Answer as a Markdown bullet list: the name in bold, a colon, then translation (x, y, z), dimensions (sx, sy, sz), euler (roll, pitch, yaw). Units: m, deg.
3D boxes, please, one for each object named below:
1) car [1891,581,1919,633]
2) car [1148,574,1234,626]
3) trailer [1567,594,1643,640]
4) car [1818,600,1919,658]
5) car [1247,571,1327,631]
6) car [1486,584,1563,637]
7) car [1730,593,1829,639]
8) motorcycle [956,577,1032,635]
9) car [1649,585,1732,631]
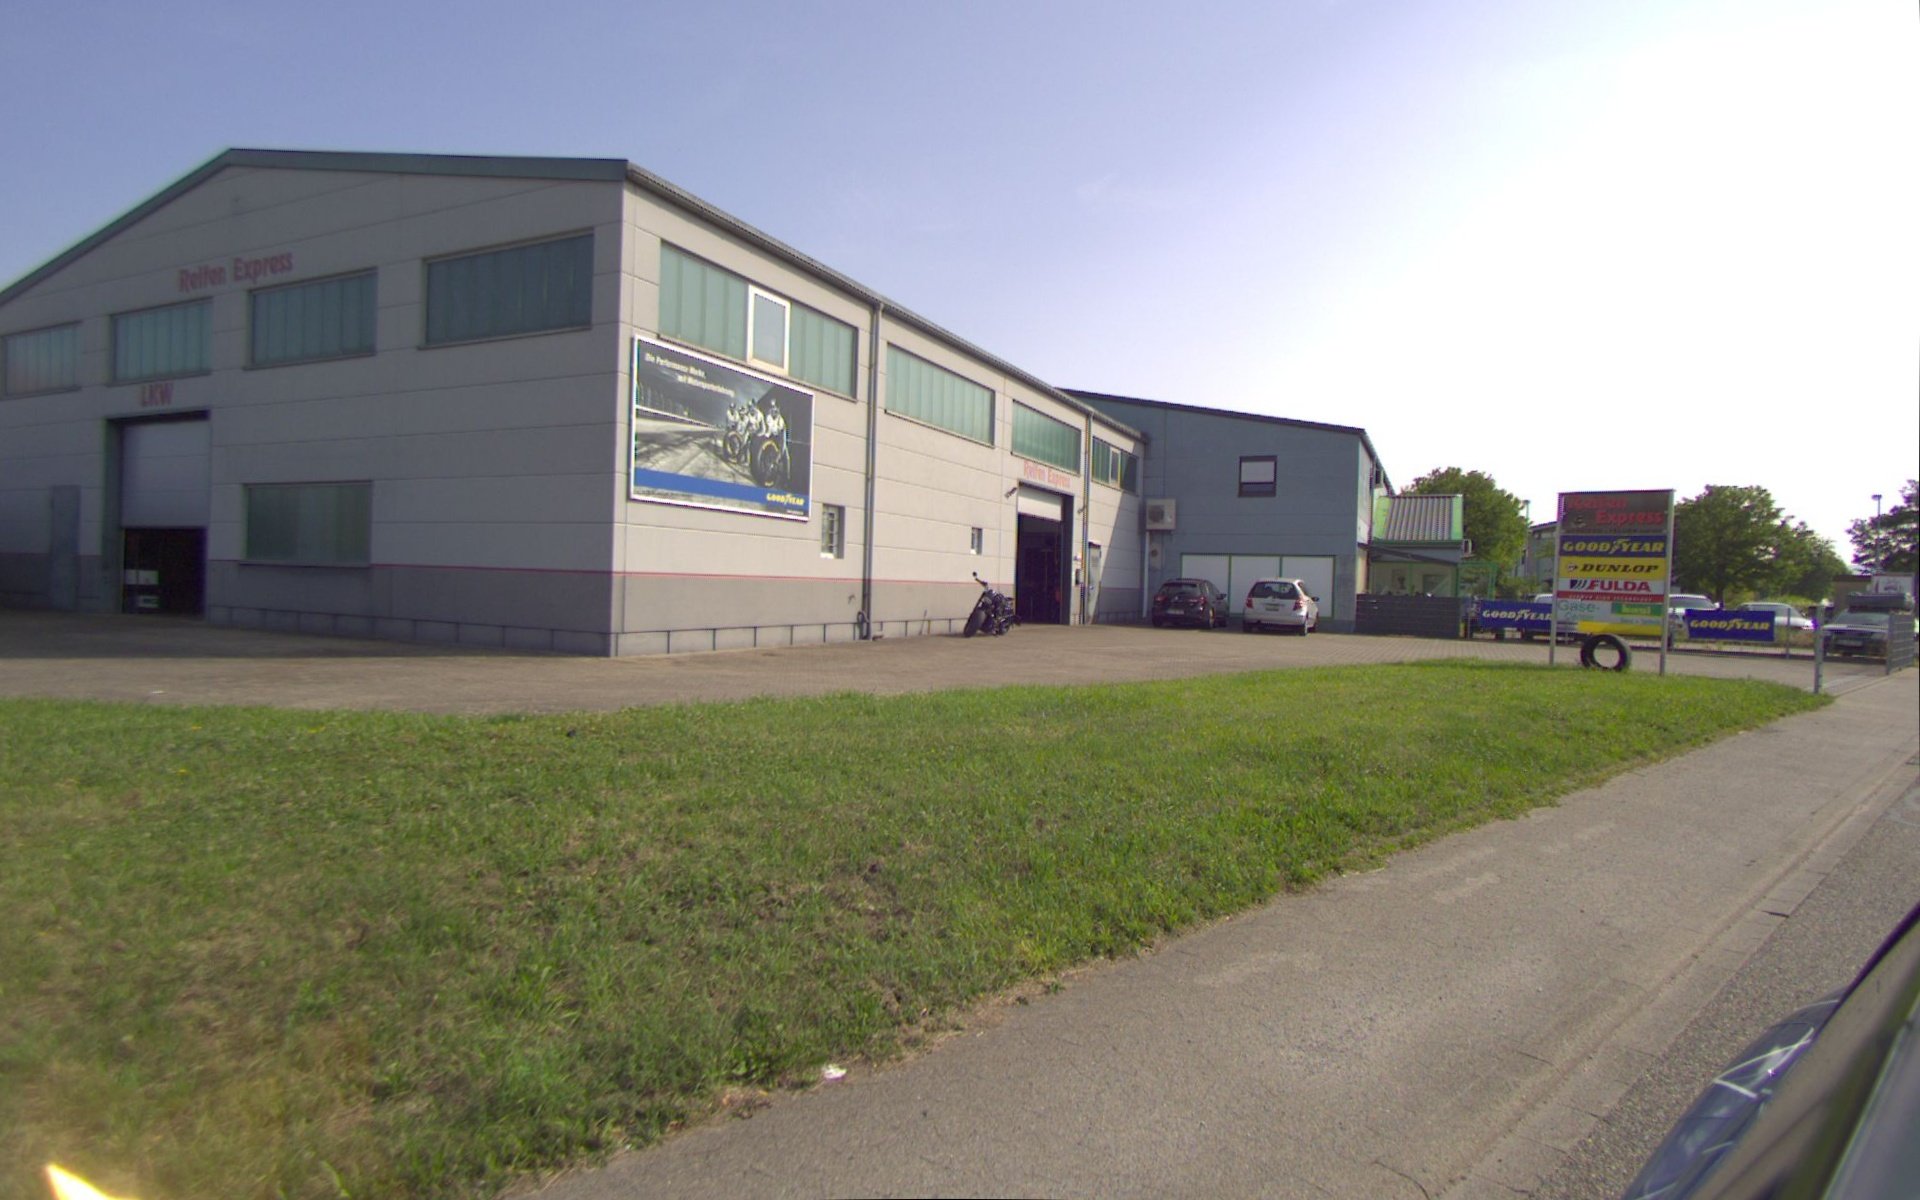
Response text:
- **car**: translation (50.327, 0.382, 49.442), dimensions (6.679, 2.571, 2.260), euler (0, 0, 27)
- **car**: translation (7.014, -0.030, 30.461), dimensions (1.666, 1.420, 3.677), euler (2, 1, 27)
- **trailer**: translation (18.854, 0.458, 29.674), dimensions (1.479, 1.264, 2.951), euler (0, 0, 25)
- **car**: translation (24.805, 0.731, 27.227), dimensions (4.311, 1.386, 1.679), euler (1, 1, -37)
- **car**: translation (9.606, 0.005, 29.549), dimensions (1.623, 1.587, 3.770), euler (2, 1, 27)
- **car**: translation (17.217, 0.267, 31.021), dimensions (1.627, 1.484, 4.424), euler (2, 1, 24)
- **car**: translation (29.319, 0.521, 36.344), dimensions (1.675, 1.484, 4.227), euler (2, 1, 24)
- **motorcycle**: translation (0.735, 0.104, 20.865), dimensions (0.795, 1.108, 2.184), euler (2, 1, 24)
- **car**: translation (27.650, 0.252, 38.455), dimensions (1.702, 1.592, 4.099), euler (2, 1, 24)
